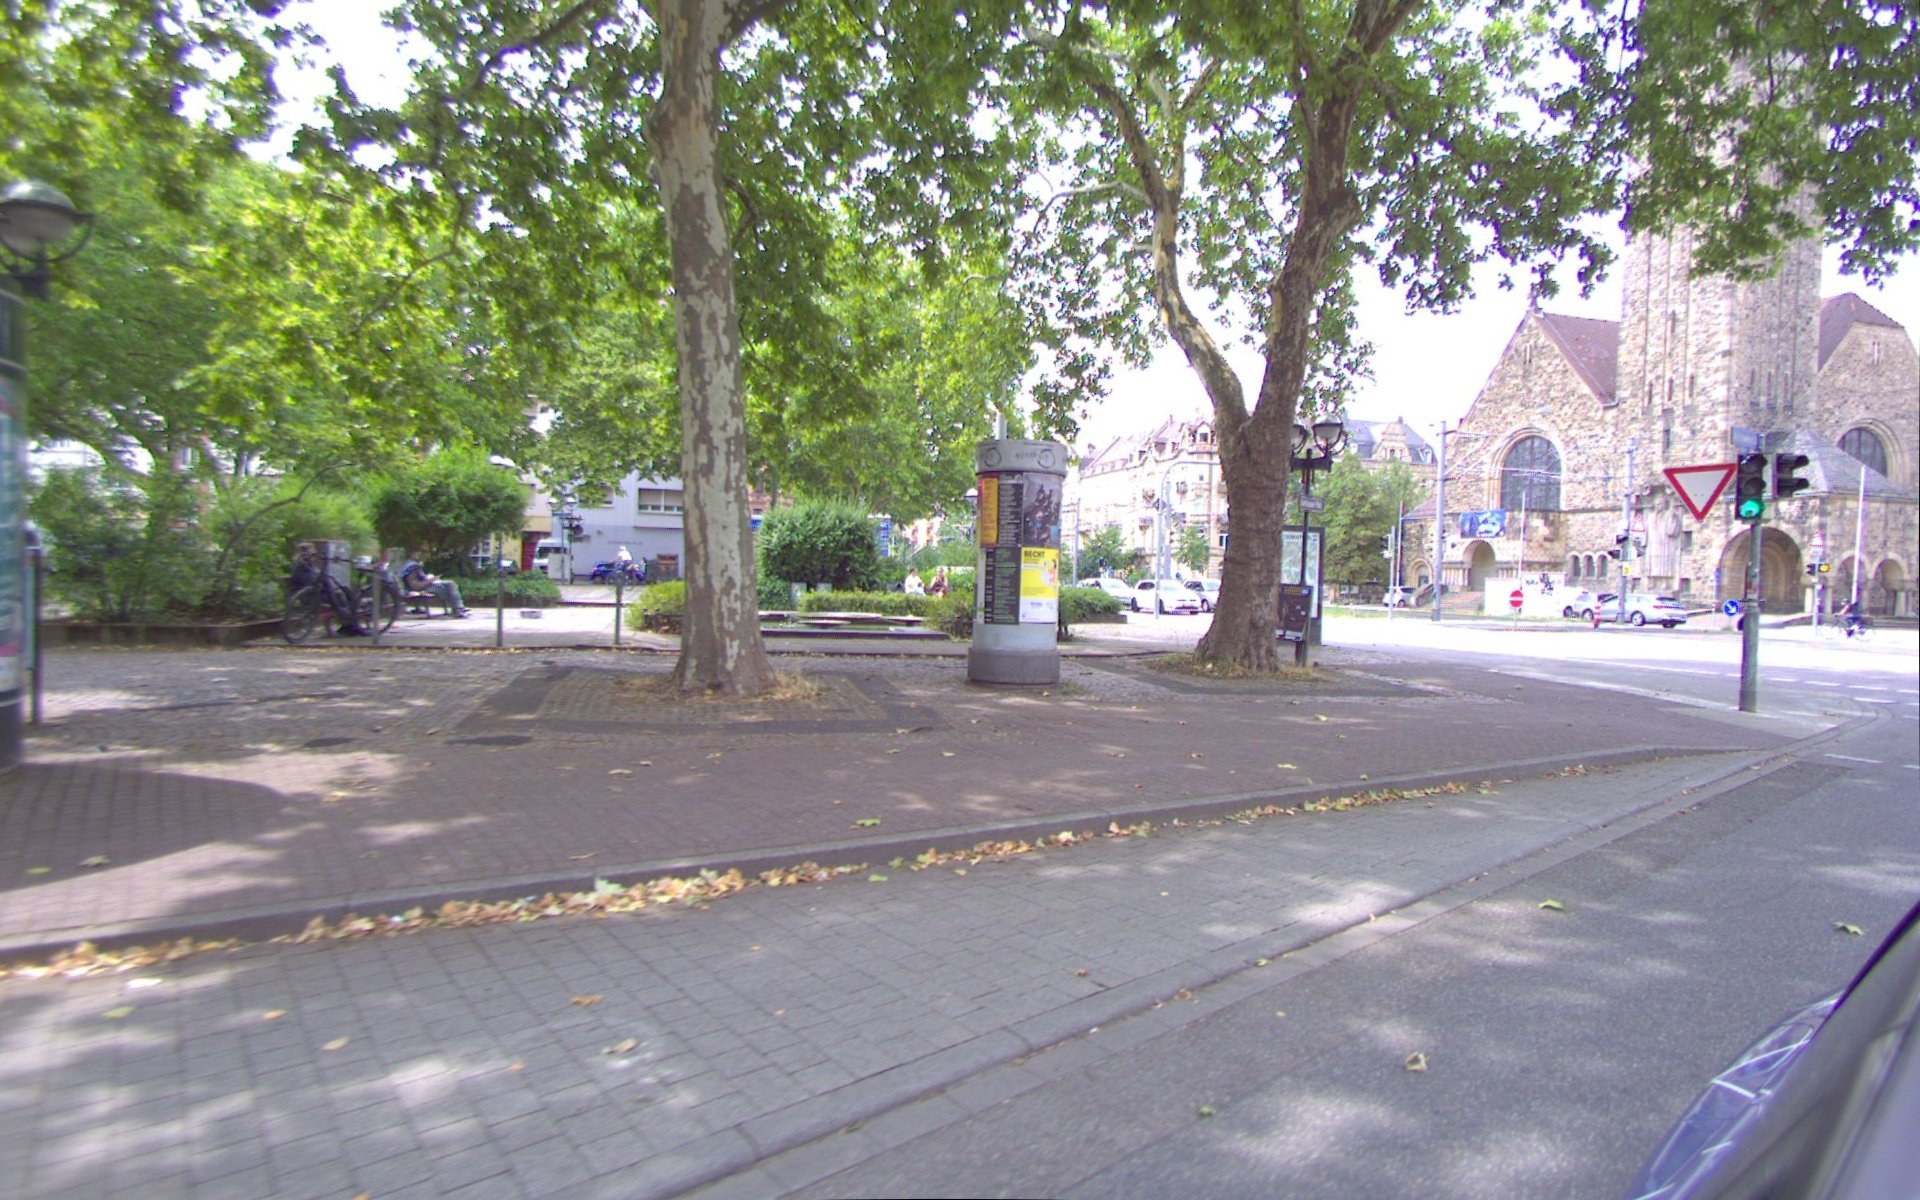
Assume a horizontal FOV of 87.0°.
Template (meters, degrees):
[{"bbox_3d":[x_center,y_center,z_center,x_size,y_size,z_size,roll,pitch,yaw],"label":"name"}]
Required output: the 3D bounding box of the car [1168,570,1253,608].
[{"bbox_3d":[11.278,-0.525,45.871,1.800,1.530,4.298,2,1,-16],"label":"car"}]

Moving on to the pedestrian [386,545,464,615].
[{"bbox_3d":[-9.863,-0.368,18.696,1.100,1.215,0.891,2,1,-18],"label":"pedestrian"}]

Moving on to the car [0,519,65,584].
[{"bbox_3d":[-27.983,-1.413,28.856,1.958,1.838,4.343,2,2,-15],"label":"car"}]

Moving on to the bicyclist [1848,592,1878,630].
[{"bbox_3d":[36.962,0.451,41.431,0.834,1.516,0.581,1,0,35],"label":"bicyclist"}]

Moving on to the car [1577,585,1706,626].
[{"bbox_3d":[29.645,0.194,44.240,1.732,1.542,4.858,2,2,-10],"label":"car"}]

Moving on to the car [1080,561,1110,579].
[{"bbox_3d":[15.876,-3.570,119.007,1.958,2.038,4.010,1,2,-17],"label":"car"}]

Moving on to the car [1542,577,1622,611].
[{"bbox_3d":[38.188,-0.390,62.130,3.871,1.905,2.005,2,1,-15],"label":"car"}]

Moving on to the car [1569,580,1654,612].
[{"bbox_3d":[38.196,-0.237,59.387,3.916,1.671,2.005,2,2,-15],"label":"car"}]

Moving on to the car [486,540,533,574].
[{"bbox_3d":[-25.851,-2.477,58.162,1.958,1.838,4.010,1,2,-17],"label":"car"}]

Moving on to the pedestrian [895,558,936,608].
[{"bbox_3d":[-1.259,-0.486,28.353,0.849,1.334,1.182,2,1,-17],"label":"pedestrian"}]

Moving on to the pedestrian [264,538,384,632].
[{"bbox_3d":[-8.732,-0.220,13.966,1.117,1.227,1.102,1,2,-15],"label":"pedestrian"}]

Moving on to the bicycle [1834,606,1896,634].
[{"bbox_3d":[37.000,0.823,41.400,1.801,1.099,0.591,1,0,36],"label":"bicycle"}]

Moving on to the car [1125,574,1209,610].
[{"bbox_3d":[8.965,-0.392,44.159,1.800,1.400,4.298,2,1,-15],"label":"car"}]

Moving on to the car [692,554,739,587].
[{"bbox_3d":[-14.616,-1.781,60.734,1.961,1.838,4.003,2,1,-3],"label":"car"}]

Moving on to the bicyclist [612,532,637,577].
[{"bbox_3d":[-12.889,-1.741,38.856,0.849,1.673,0.563,2,1,-18],"label":"bicyclist"}]

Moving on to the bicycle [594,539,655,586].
[{"bbox_3d":[-12.872,-1.436,38.858,2.138,1.727,0.724,2,1,-16],"label":"bicycle"}]

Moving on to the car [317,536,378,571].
[{"bbox_3d":[-33.971,-2.556,56.218,1.958,1.838,4.010,1,2,-17],"label":"car"}]

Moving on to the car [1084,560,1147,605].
[{"bbox_3d":[7.505,-0.888,49.298,1.959,2.038,4.007,1,2,-7],"label":"car"}]

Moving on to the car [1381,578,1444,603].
[{"bbox_3d":[33.994,-0.705,76.050,3.871,1.661,2.005,2,2,-15],"label":"car"}]

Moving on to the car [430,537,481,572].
[{"bbox_3d":[-28.697,-2.580,57.723,1.958,1.838,4.010,1,2,-17],"label":"car"}]

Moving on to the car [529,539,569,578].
[{"bbox_3d":[-23.759,-2.397,58.597,1.958,2.133,4.038,2,2,-20],"label":"car"}]

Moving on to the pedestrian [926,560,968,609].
[{"bbox_3d":[-0.369,-0.443,28.636,0.849,1.334,1.182,2,1,-17],"label":"pedestrian"}]
